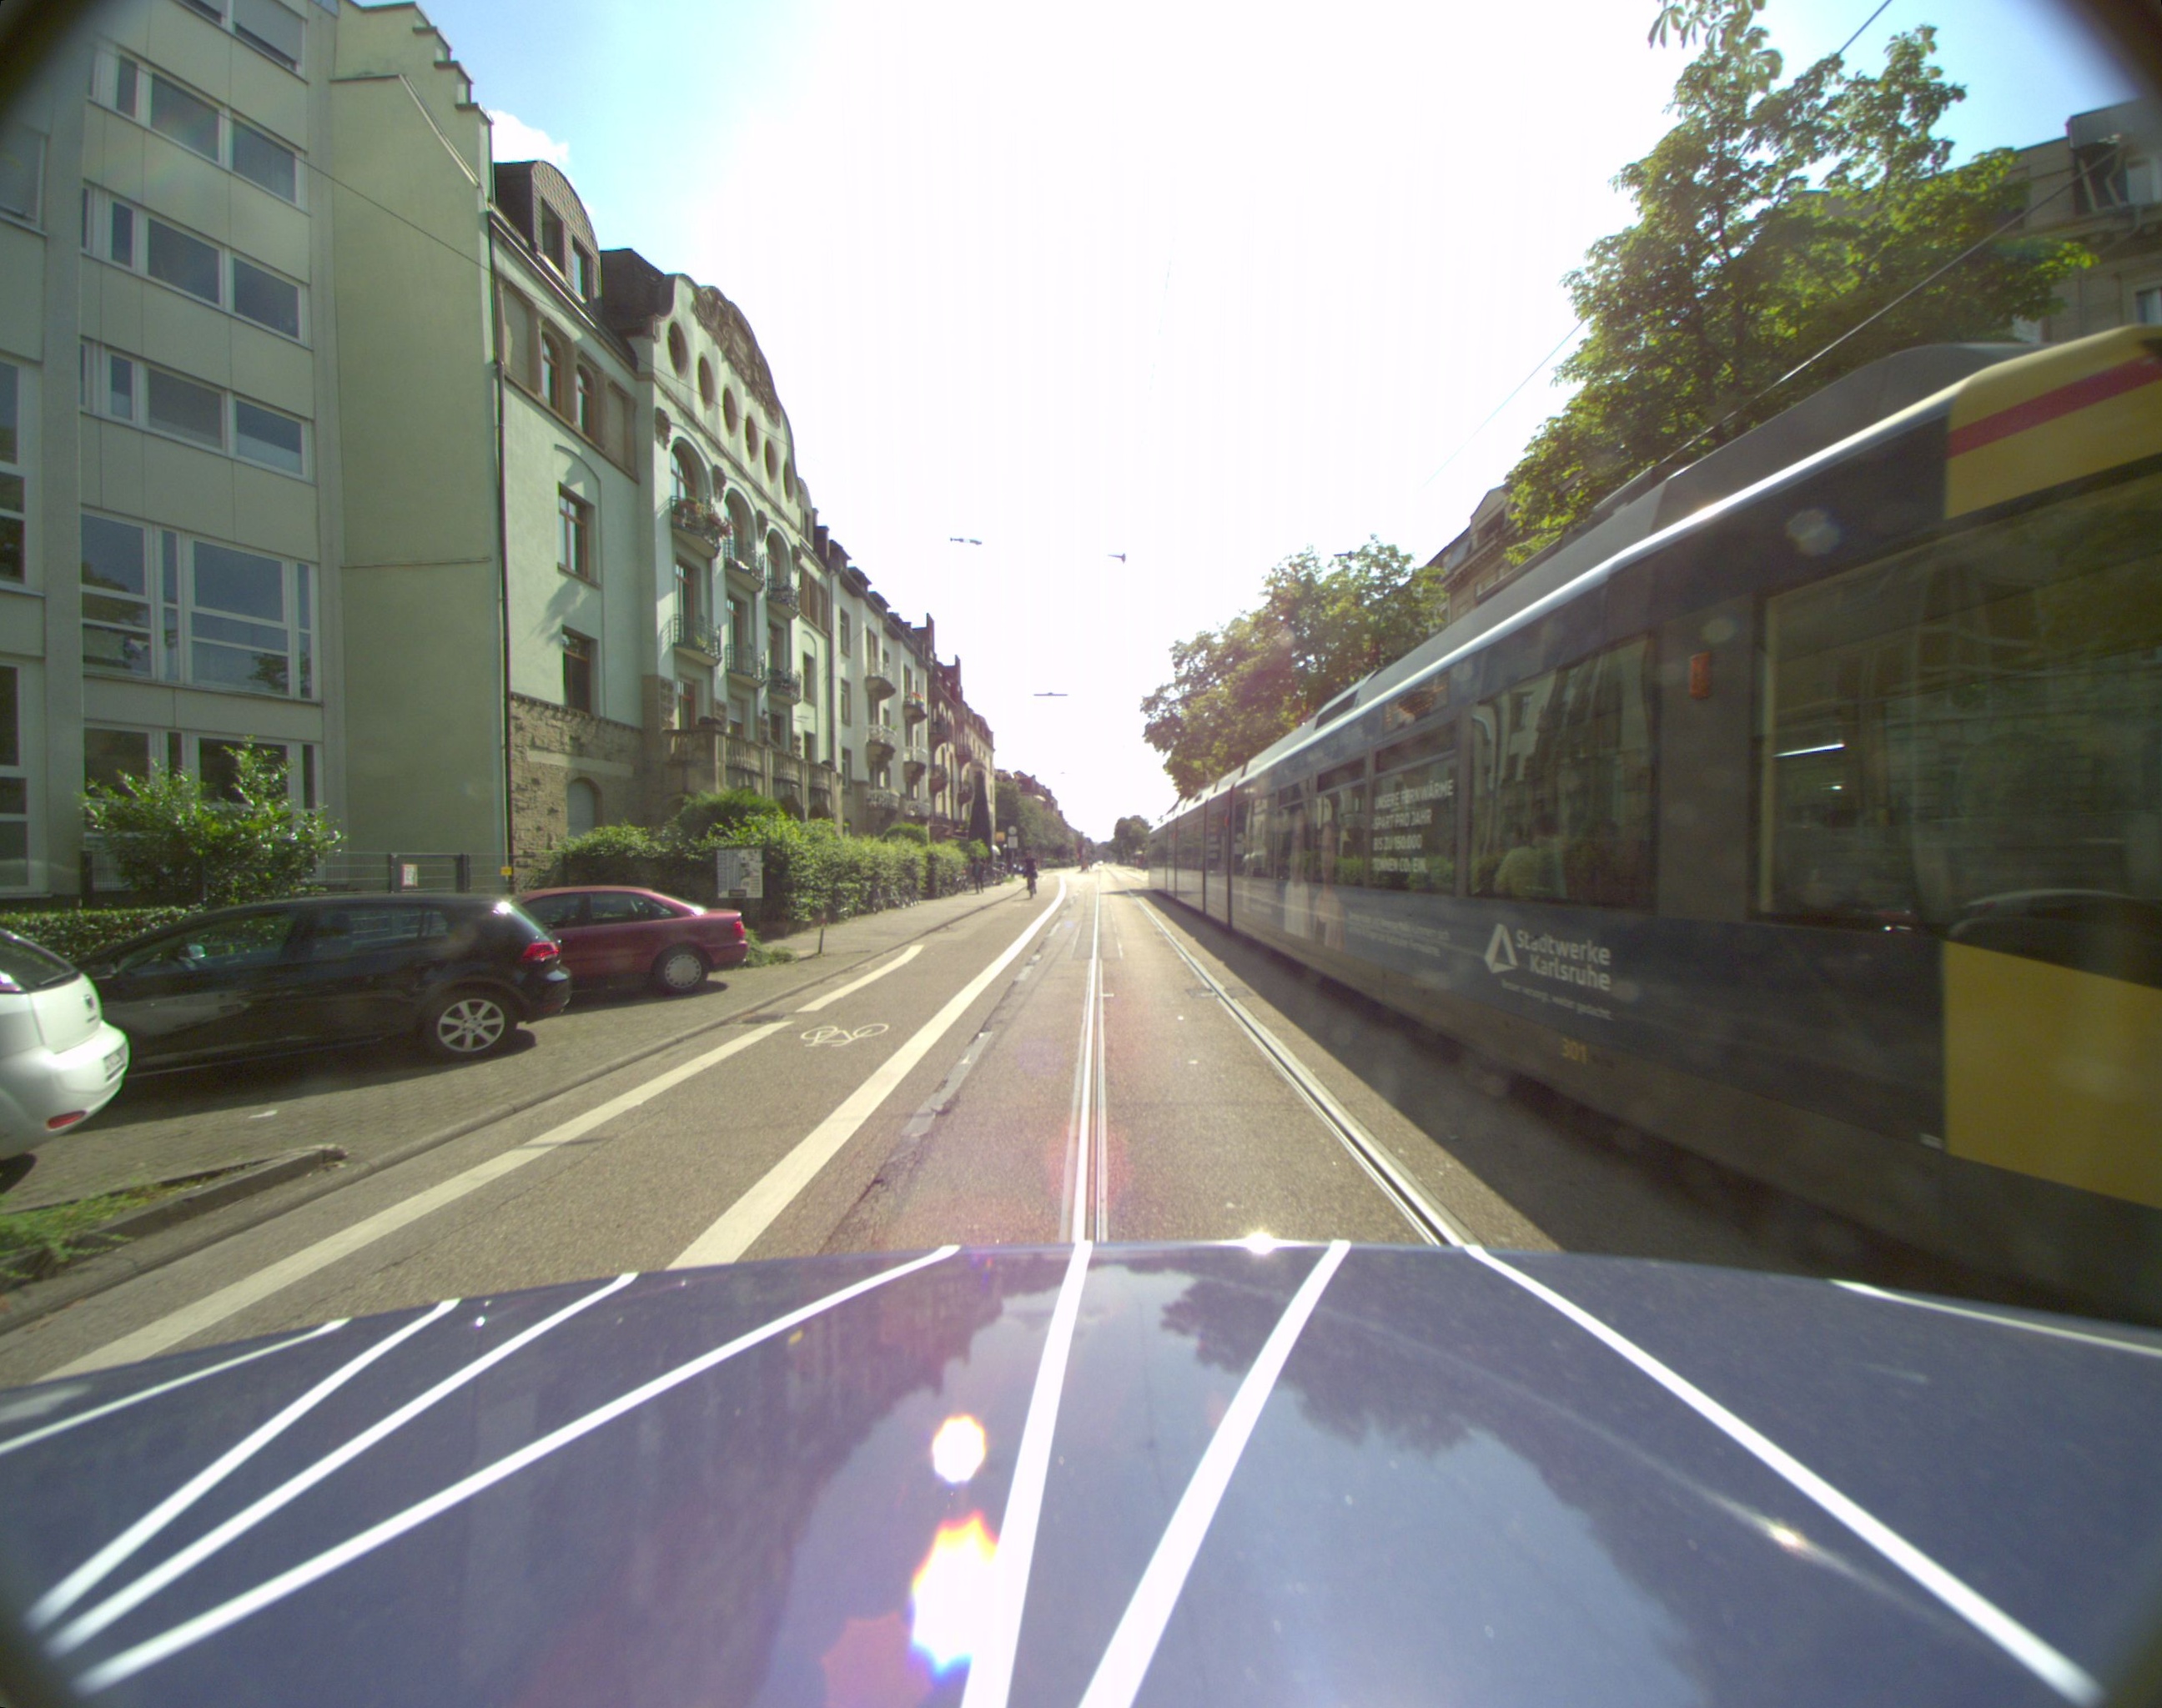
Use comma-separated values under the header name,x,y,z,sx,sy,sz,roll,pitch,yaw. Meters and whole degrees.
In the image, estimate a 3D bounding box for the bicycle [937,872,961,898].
name,x,y,z,sx,sy,sz,roll,pitch,yaw
bicycle,-5.460,1.282,31.528,0.614,0.983,1.872,1,0,1

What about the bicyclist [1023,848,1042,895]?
name,x,y,z,sx,sy,sz,roll,pitch,yaw
bicyclist,-2.061,0.740,32.364,0.608,1.937,1.130,-3,1,1

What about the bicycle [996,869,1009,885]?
name,x,y,z,sx,sy,sz,roll,pitch,yaw
bicycle,-5.187,1.515,50.115,0.600,0.955,3.066,3,0,-2

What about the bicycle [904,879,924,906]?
name,x,y,z,sx,sy,sz,roll,pitch,yaw
bicycle,-5.912,1.348,26.947,0.274,0.901,1.669,2,-1,1

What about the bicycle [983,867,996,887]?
name,x,y,z,sx,sy,sz,roll,pitch,yaw
bicycle,-5.284,1.317,43.890,0.452,1.116,1.844,1,0,2

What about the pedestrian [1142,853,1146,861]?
name,x,y,z,sx,sy,sz,roll,pitch,yaw
pedestrian,10.399,0.470,125.816,0.605,1.329,0.406,2,1,-5

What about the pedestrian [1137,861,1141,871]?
name,x,y,z,sx,sy,sz,roll,pitch,yaw
pedestrian,9.722,1.934,127.094,0.498,1.660,0.678,2,1,-5

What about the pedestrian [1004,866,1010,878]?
name,x,y,z,sx,sy,sz,roll,pitch,yaw
pedestrian,-7.993,1.925,81.672,0.571,1.318,0.442,4,0,-7

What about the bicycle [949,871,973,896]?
name,x,y,z,sx,sy,sz,roll,pitch,yaw
bicycle,-5.331,1.298,33.926,0.612,0.990,2.362,2,0,1

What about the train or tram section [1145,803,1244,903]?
name,x,y,z,sx,sy,sz,roll,pitch,yaw
train or tram section,4.445,0.020,32.526,2.659,3.416,12.317,1,-1,2

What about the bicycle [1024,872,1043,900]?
name,x,y,z,sx,sy,sz,roll,pitch,yaw
bicycle,-2.010,1.342,32.495,0.617,1.039,1.836,3,1,1

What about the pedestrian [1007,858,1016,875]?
name,x,y,z,sx,sy,sz,roll,pitch,yaw
pedestrian,-7.467,1.338,81.696,0.661,1.831,0.873,7,0,-7

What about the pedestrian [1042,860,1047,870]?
name,x,y,z,sx,sy,sz,roll,pitch,yaw
pedestrian,-6.324,1.964,131.734,0.707,1.644,0.534,-3,1,1

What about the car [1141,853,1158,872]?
name,x,y,z,sx,sy,sz,roll,pitch,yaw
car,9.418,1.097,105.123,1.998,1.985,5.084,-3,5,3

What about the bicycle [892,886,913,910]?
name,x,y,z,sx,sy,sz,roll,pitch,yaw
bicycle,-5.773,1.423,24.618,0.280,0.673,1.559,2,0,1

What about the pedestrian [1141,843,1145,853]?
name,x,y,z,sx,sy,sz,roll,pitch,yaw
pedestrian,9.889,-0.994,121.572,0.473,1.647,0.746,2,1,1

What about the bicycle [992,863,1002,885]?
name,x,y,z,sx,sy,sz,roll,pitch,yaw
bicycle,-5.043,1.201,45.664,0.452,1.253,1.844,1,0,-2

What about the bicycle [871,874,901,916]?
name,x,y,z,sx,sy,sz,roll,pitch,yaw
bicycle,-5.815,1.198,22.705,0.280,1.102,2.011,2,0,1

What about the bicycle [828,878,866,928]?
name,x,y,z,sx,sy,sz,roll,pitch,yaw
bicycle,-5.884,1.209,19.187,0.280,1.102,2.011,2,0,1

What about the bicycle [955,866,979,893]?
name,x,y,z,sx,sy,sz,roll,pitch,yaw
bicycle,-5.596,1.243,37.401,0.742,1.224,2.516,-1,0,1

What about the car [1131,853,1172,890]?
name,x,y,z,sx,sy,sz,roll,pitch,yaw
car,5.067,1.204,55.456,2.322,2.492,6.363,-1,0,0

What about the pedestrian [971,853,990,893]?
name,x,y,z,sx,sy,sz,roll,pitch,yaw
pedestrian,-4.731,0.885,35.765,0.790,1.850,0.580,2,0,-6

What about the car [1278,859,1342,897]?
name,x,y,z,sx,sy,sz,roll,pitch,yaw
car,10.146,1.024,33.875,1.658,1.476,3.808,-3,0,0

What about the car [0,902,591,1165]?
name,x,y,z,sx,sy,sz,roll,pitch,yaw
car,-6.571,1.259,6.267,4.008,1.440,1.695,-1,0,-41

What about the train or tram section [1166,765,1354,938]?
name,x,y,z,sx,sy,sz,roll,pitch,yaw
train or tram section,4.151,-0.074,20.699,2.659,3.369,11.473,1,0,2

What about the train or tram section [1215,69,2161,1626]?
name,x,y,z,sx,sy,sz,roll,pitch,yaw
train or tram section,3.815,-0.034,7.940,2.659,3.336,14.109,1,0,2

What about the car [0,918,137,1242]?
name,x,y,z,sx,sy,sz,roll,pitch,yaw
car,-6.930,1.152,2.884,4.008,1.452,1.531,-1,0,-44

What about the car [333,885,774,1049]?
name,x,y,z,sx,sy,sz,roll,pitch,yaw
car,-6.274,1.184,9.434,4.168,1.415,1.861,0,0,-41

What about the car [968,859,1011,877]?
name,x,y,z,sx,sy,sz,roll,pitch,yaw
car,-8.112,1.260,67.420,3.409,1.515,1.972,1,0,3

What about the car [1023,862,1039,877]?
name,x,y,z,sx,sy,sz,roll,pitch,yaw
car,-5.128,1.583,78.253,1.517,1.490,2.794,2,0,-1

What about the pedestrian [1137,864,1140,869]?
name,x,y,z,sx,sy,sz,roll,pitch,yaw
pedestrian,9.635,2.121,127.244,0.340,0.925,0.346,2,1,-6
